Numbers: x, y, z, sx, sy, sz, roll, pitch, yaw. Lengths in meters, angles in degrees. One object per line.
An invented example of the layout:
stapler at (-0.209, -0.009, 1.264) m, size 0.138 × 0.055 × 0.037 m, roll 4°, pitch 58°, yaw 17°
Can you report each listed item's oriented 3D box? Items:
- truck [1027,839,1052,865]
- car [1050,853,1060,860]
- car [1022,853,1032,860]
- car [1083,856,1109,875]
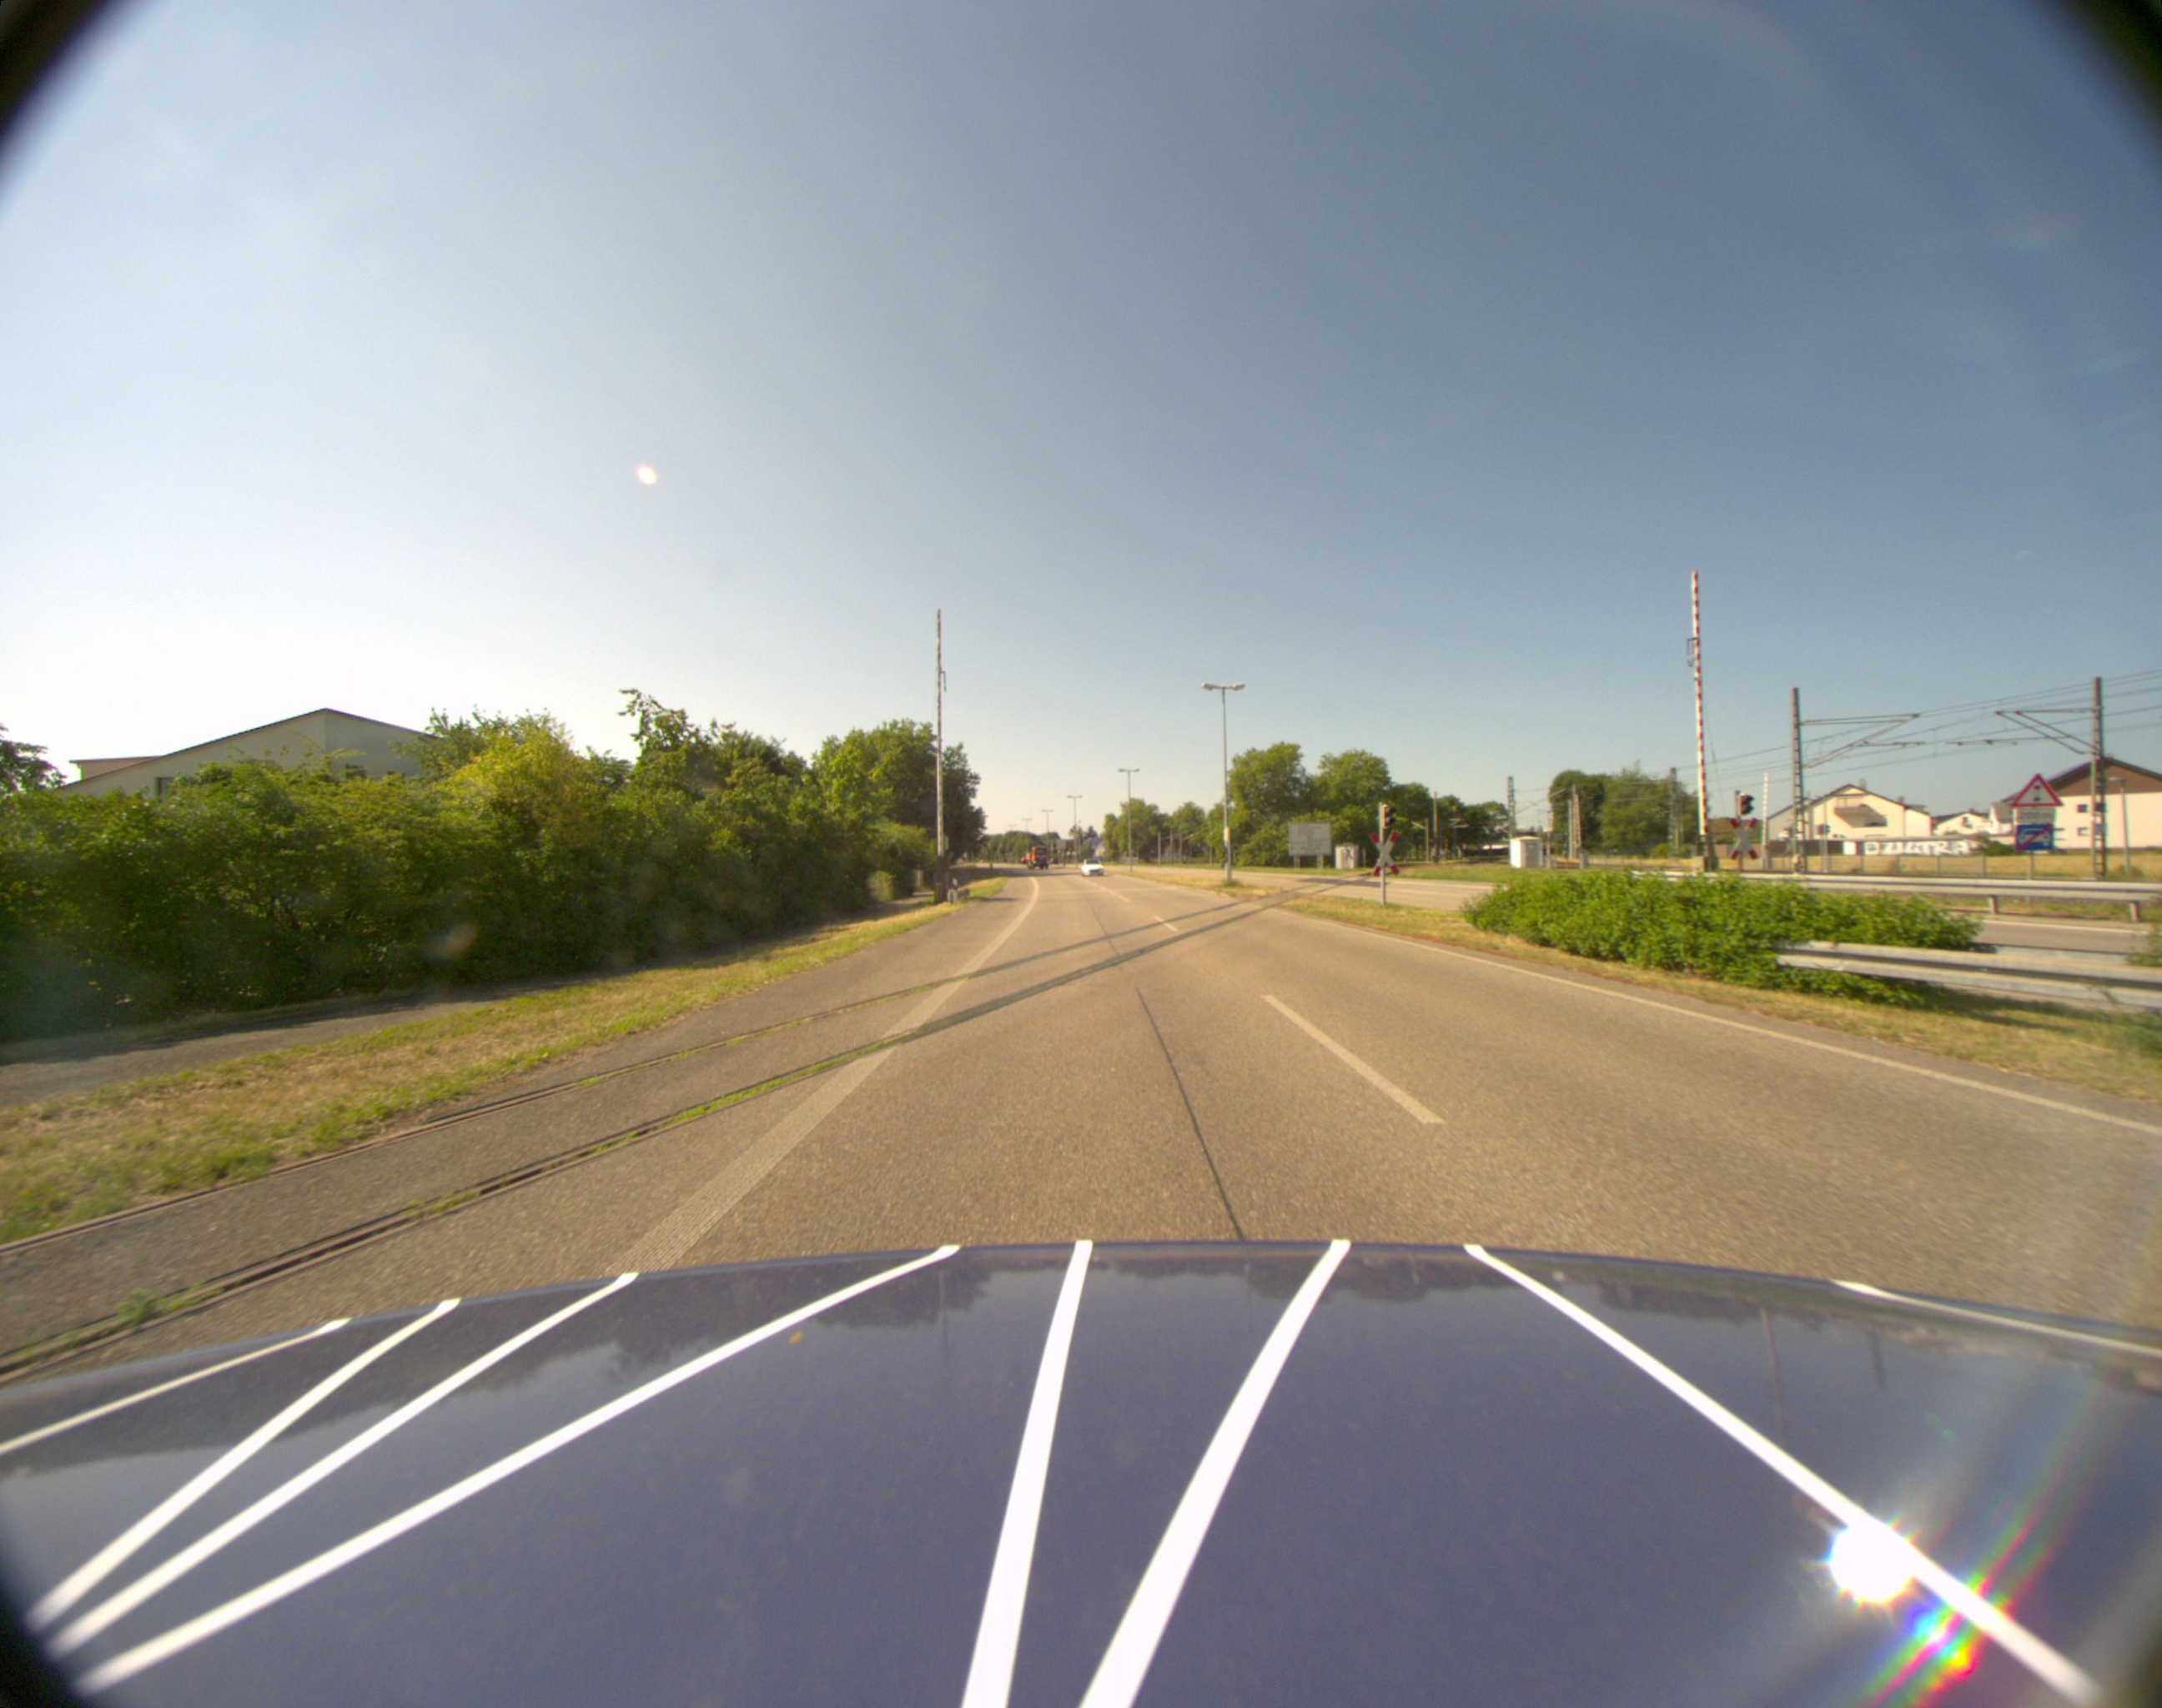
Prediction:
truck at (-6.445, -0.320, 118.030) m, size 2.943 × 3.852 × 6.584 m, roll -1°, pitch 0°, yaw -11°
car at (-6.607, 0.582, 191.261) m, size 1.989 × 1.650 × 4.550 m, roll -1°, pitch 0°, yaw -10°
car at (-13.667, 0.709, 191.952) m, size 1.988 × 1.740 × 4.503 m, roll -1°, pitch 0°, yaw -11°
car at (1.250, 0.958, 65.554) m, size 1.869 × 1.499 × 4.335 m, roll -1°, pitch 0°, yaw -4°
